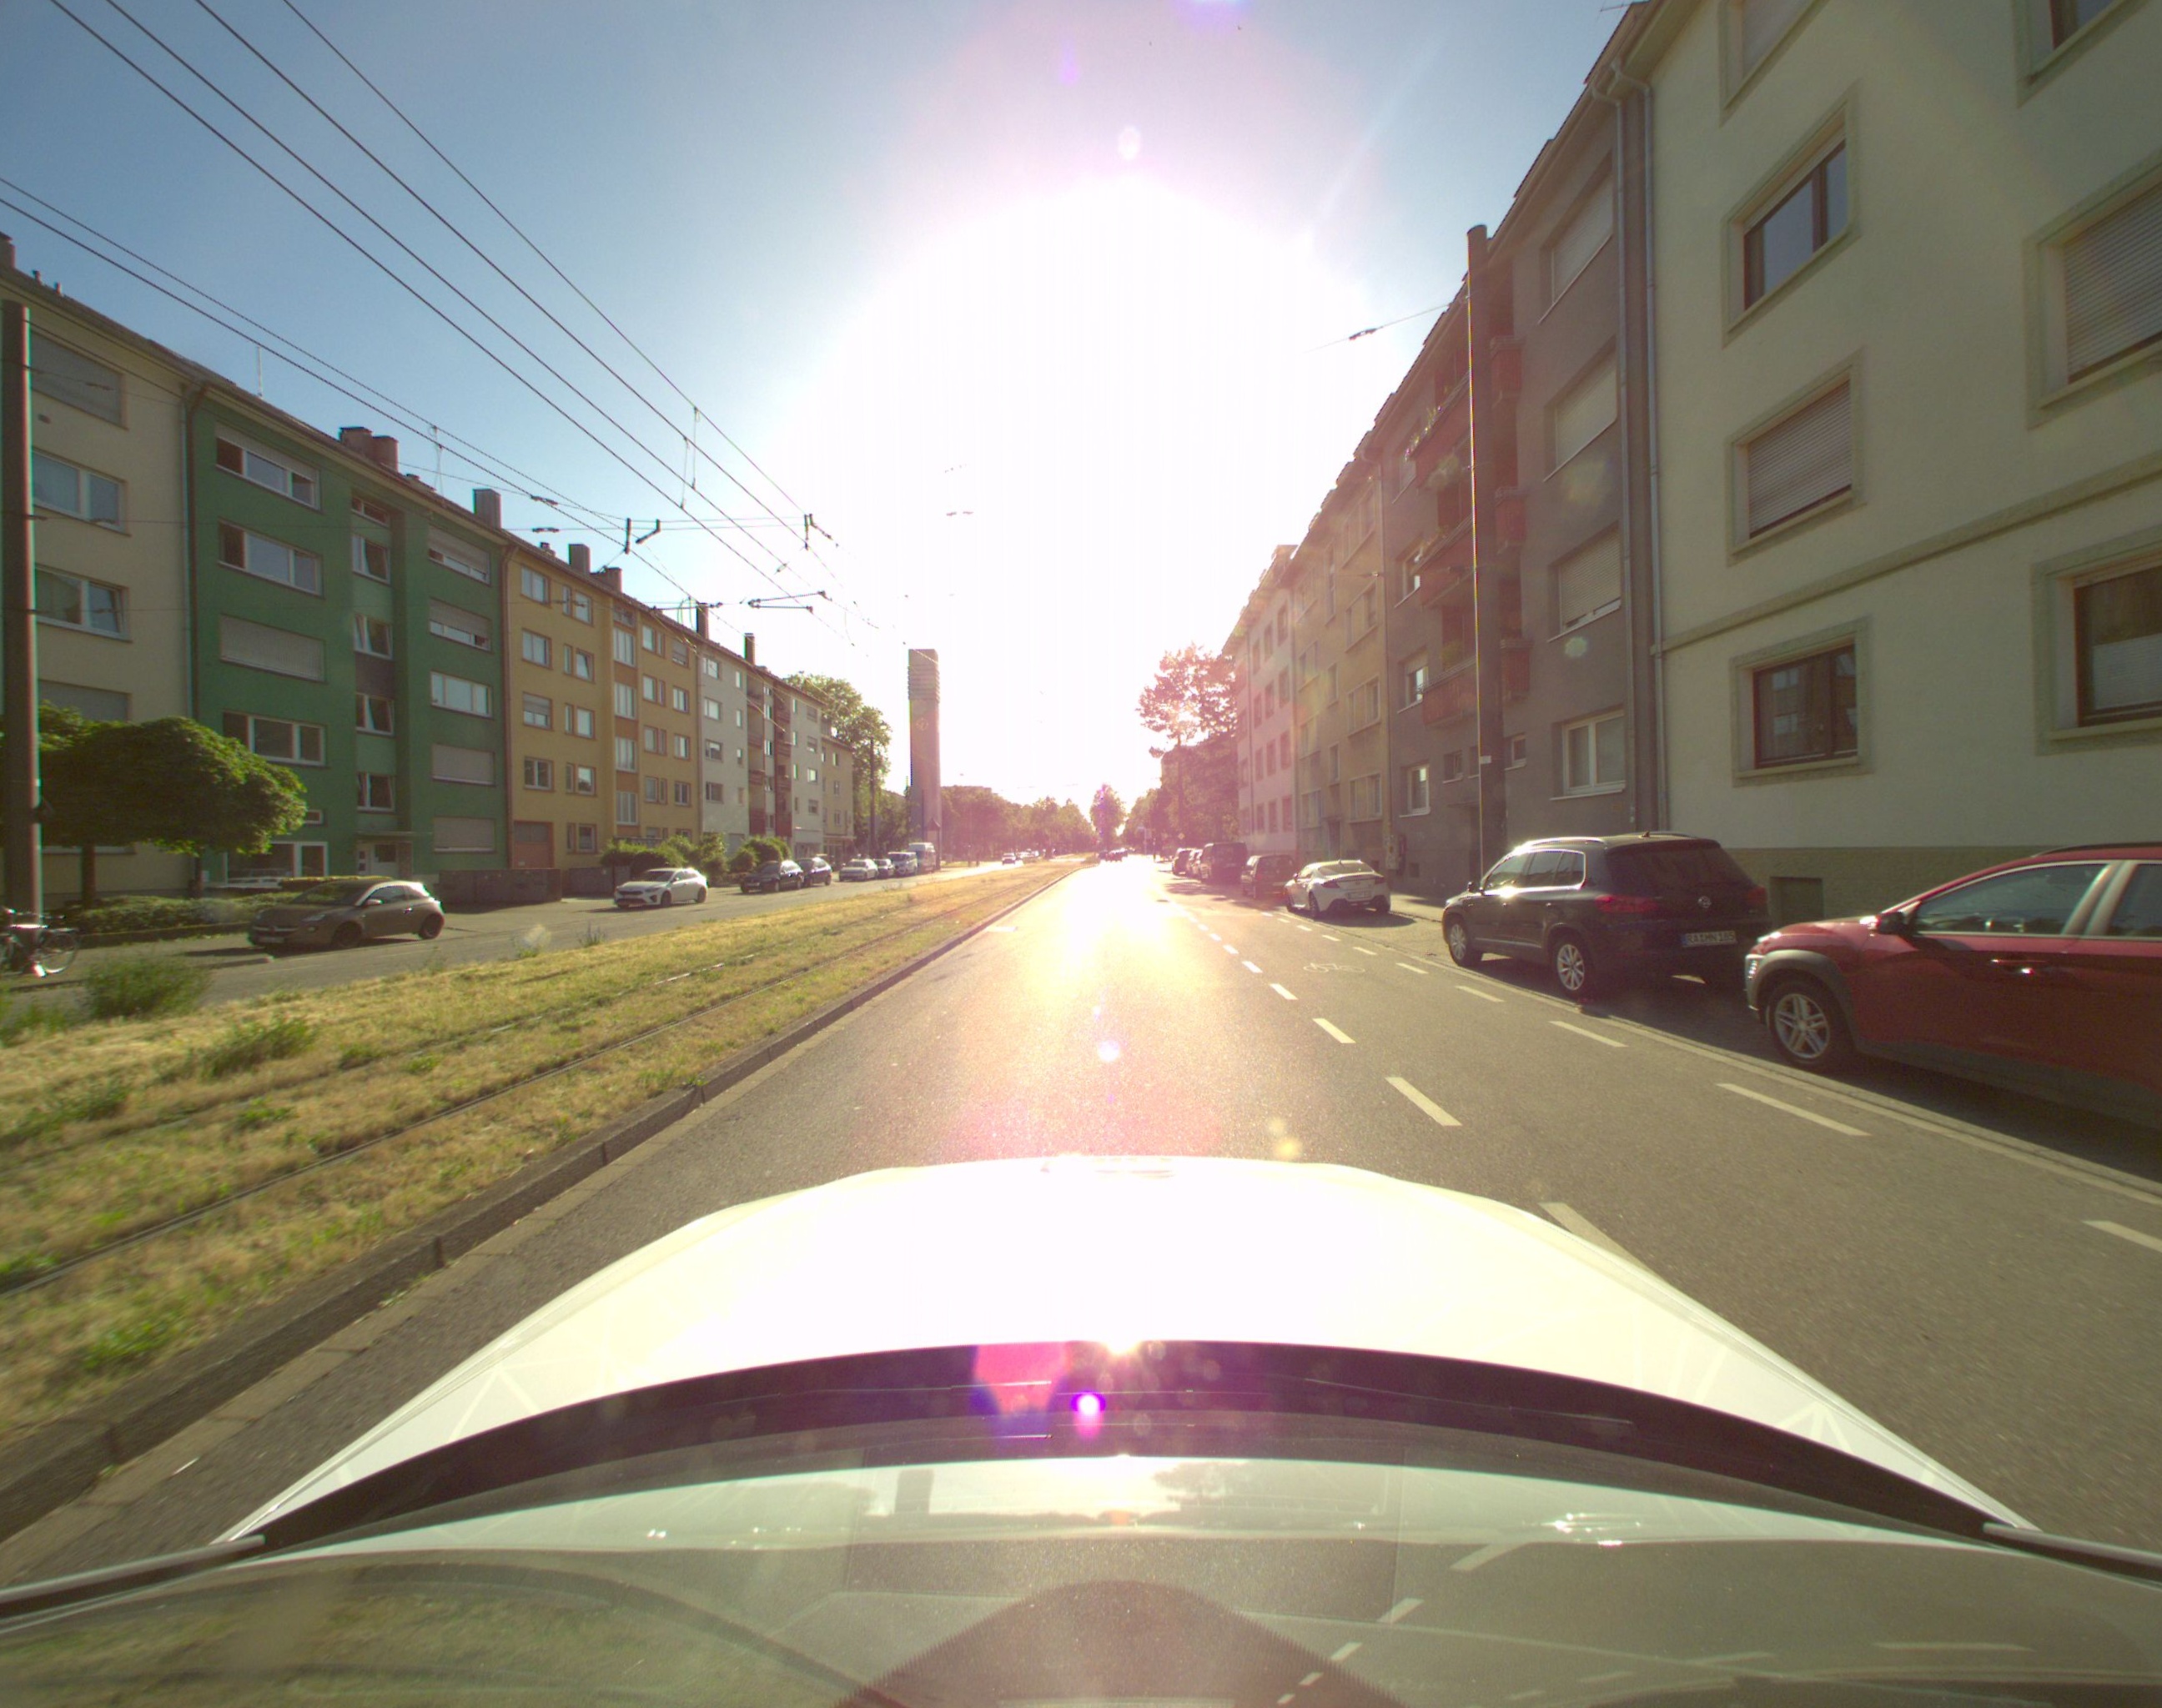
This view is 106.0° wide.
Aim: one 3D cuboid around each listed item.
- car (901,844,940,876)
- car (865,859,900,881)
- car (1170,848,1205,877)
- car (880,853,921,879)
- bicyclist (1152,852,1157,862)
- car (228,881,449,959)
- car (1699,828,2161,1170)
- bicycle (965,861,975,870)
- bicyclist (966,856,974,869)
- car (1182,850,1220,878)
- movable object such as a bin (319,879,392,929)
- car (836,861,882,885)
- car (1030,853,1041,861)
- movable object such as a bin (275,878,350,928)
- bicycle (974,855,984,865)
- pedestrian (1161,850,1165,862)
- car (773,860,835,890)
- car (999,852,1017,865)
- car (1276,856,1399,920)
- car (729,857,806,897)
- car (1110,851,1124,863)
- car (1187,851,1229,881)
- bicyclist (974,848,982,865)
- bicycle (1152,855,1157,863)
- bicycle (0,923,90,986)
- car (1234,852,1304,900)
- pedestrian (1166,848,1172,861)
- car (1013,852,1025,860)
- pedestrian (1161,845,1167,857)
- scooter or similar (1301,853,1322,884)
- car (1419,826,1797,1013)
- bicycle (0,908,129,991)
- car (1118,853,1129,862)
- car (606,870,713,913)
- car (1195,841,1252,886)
[{"bbox_3d":[-14.799,0.537,75.479,2.024,2.868,6.233,0,0,3],"label":"car"},{"bbox_3d":[-15.206,1.195,62.561,1.689,1.515,4.325,0,0,-1],"label":"car"},{"bbox_3d":[7.102,0.513,54.729,1.871,1.717,4.937,-4,0,3],"label":"car"},{"bbox_3d":[-15.077,0.986,68.330,2.024,2.021,5.375,1,0,3],"label":"car"},{"bbox_3d":[10.014,0.390,111.137,0.635,1.323,0.804,1,0,4],"label":"bicyclist"},{"bbox_3d":[-16.842,1.428,18.753,1.630,1.442,3.733,1,0,0],"label":"car"},{"bbox_3d":[5.719,0.637,4.431,1.629,1.517,4.191,-2,0,2],"label":"car"},{"bbox_3d":[-12.494,1.308,91.979,0.765,0.879,2.070,-3,0,2],"label":"bicycle"},{"bbox_3d":[-12.500,0.953,91.978,0.770,1.384,0.648,-2,0,2],"label":"bicyclist"},{"bbox_3d":[7.215,0.576,49.227,1.589,1.578,3.894,-3,0,-1],"label":"car"},{"bbox_3d":[-20.927,1.426,23.508,1.141,1.368,1.040,1,0,4],"label":"movable object such as a bin"},{"bbox_3d":[-15.434,1.315,56.881,1.886,1.491,4.703,1,0,0],"label":"car"},{"bbox_3d":[-8.997,0.546,160.581,1.681,1.533,4.363,-1,0,2],"label":"car"},{"bbox_3d":[-22.217,1.397,23.567,1.141,1.368,1.040,1,0,4],"label":"movable object such as a bin"},{"bbox_3d":[-12.266,0.709,97.901,0.765,1.146,2.476,-3,0,2],"label":"bicycle"},{"bbox_3d":[11.220,0.278,111.581,0.526,1.528,0.629,-3,0,7],"label":"pedestrian"},{"bbox_3d":[-16.037,1.174,47.370,1.986,1.607,4.153,1,0,2],"label":"car"},{"bbox_3d":[-9.389,0.556,104.439,1.687,1.448,4.220,-2,0,3],"label":"car"},{"bbox_3d":[6.262,0.774,20.404,1.696,1.275,4.304,-5,0,1],"label":"car"},{"bbox_3d":[-16.032,1.121,41.881,1.986,1.837,4.611,1,0,2],"label":"car"},{"bbox_3d":[4.886,0.375,110.761,1.689,1.508,3.698,1,0,0],"label":"car"},{"bbox_3d":[6.865,0.614,44.437,1.506,1.478,4.237,-3,0,-1],"label":"car"},{"bbox_3d":[-12.306,0.247,97.508,0.770,2.013,0.648,1,0,2],"label":"bicyclist"},{"bbox_3d":[10.012,0.678,111.104,0.645,0.972,1.806,1,0,5],"label":"bicycle"},{"bbox_3d":[-17.077,1.625,12.971,0.376,0.866,2.048,1,0,-10],"label":"bicycle"},{"bbox_3d":[6.436,0.700,28.244,1.629,1.454,3.791,-4,0,2],"label":"car"},{"bbox_3d":[11.996,0.089,111.399,0.699,1.789,0.695,-4,1,7],"label":"pedestrian"},{"bbox_3d":[-12.153,0.405,159.470,1.800,1.533,4.363,-1,0,2],"label":"car"},{"bbox_3d":[11.852,-0.383,116.302,0.724,1.682,0.535,1,0,14],"label":"pedestrian"},{"bbox_3d":[9.739,0.611,34.458,0.457,1.238,1.339,-5,0,2],"label":"scooter or similar"},{"bbox_3d":[5.838,0.598,9.797,1.630,1.647,4.373,-4,0,0],"label":"car"},{"bbox_3d":[-16.614,1.493,13.124,0.509,1.092,1.929,1,0,-10],"label":"bicycle"},{"bbox_3d":[8.425,0.734,161.632,1.887,1.611,4.501,1,0,1],"label":"car"},{"bbox_3d":[-16.280,1.392,31.733,1.722,1.454,4.378,0,0,2],"label":"car"},{"bbox_3d":[6.842,0.410,39.596,1.906,1.899,5.137,-4,0,1],"label":"car"}]
